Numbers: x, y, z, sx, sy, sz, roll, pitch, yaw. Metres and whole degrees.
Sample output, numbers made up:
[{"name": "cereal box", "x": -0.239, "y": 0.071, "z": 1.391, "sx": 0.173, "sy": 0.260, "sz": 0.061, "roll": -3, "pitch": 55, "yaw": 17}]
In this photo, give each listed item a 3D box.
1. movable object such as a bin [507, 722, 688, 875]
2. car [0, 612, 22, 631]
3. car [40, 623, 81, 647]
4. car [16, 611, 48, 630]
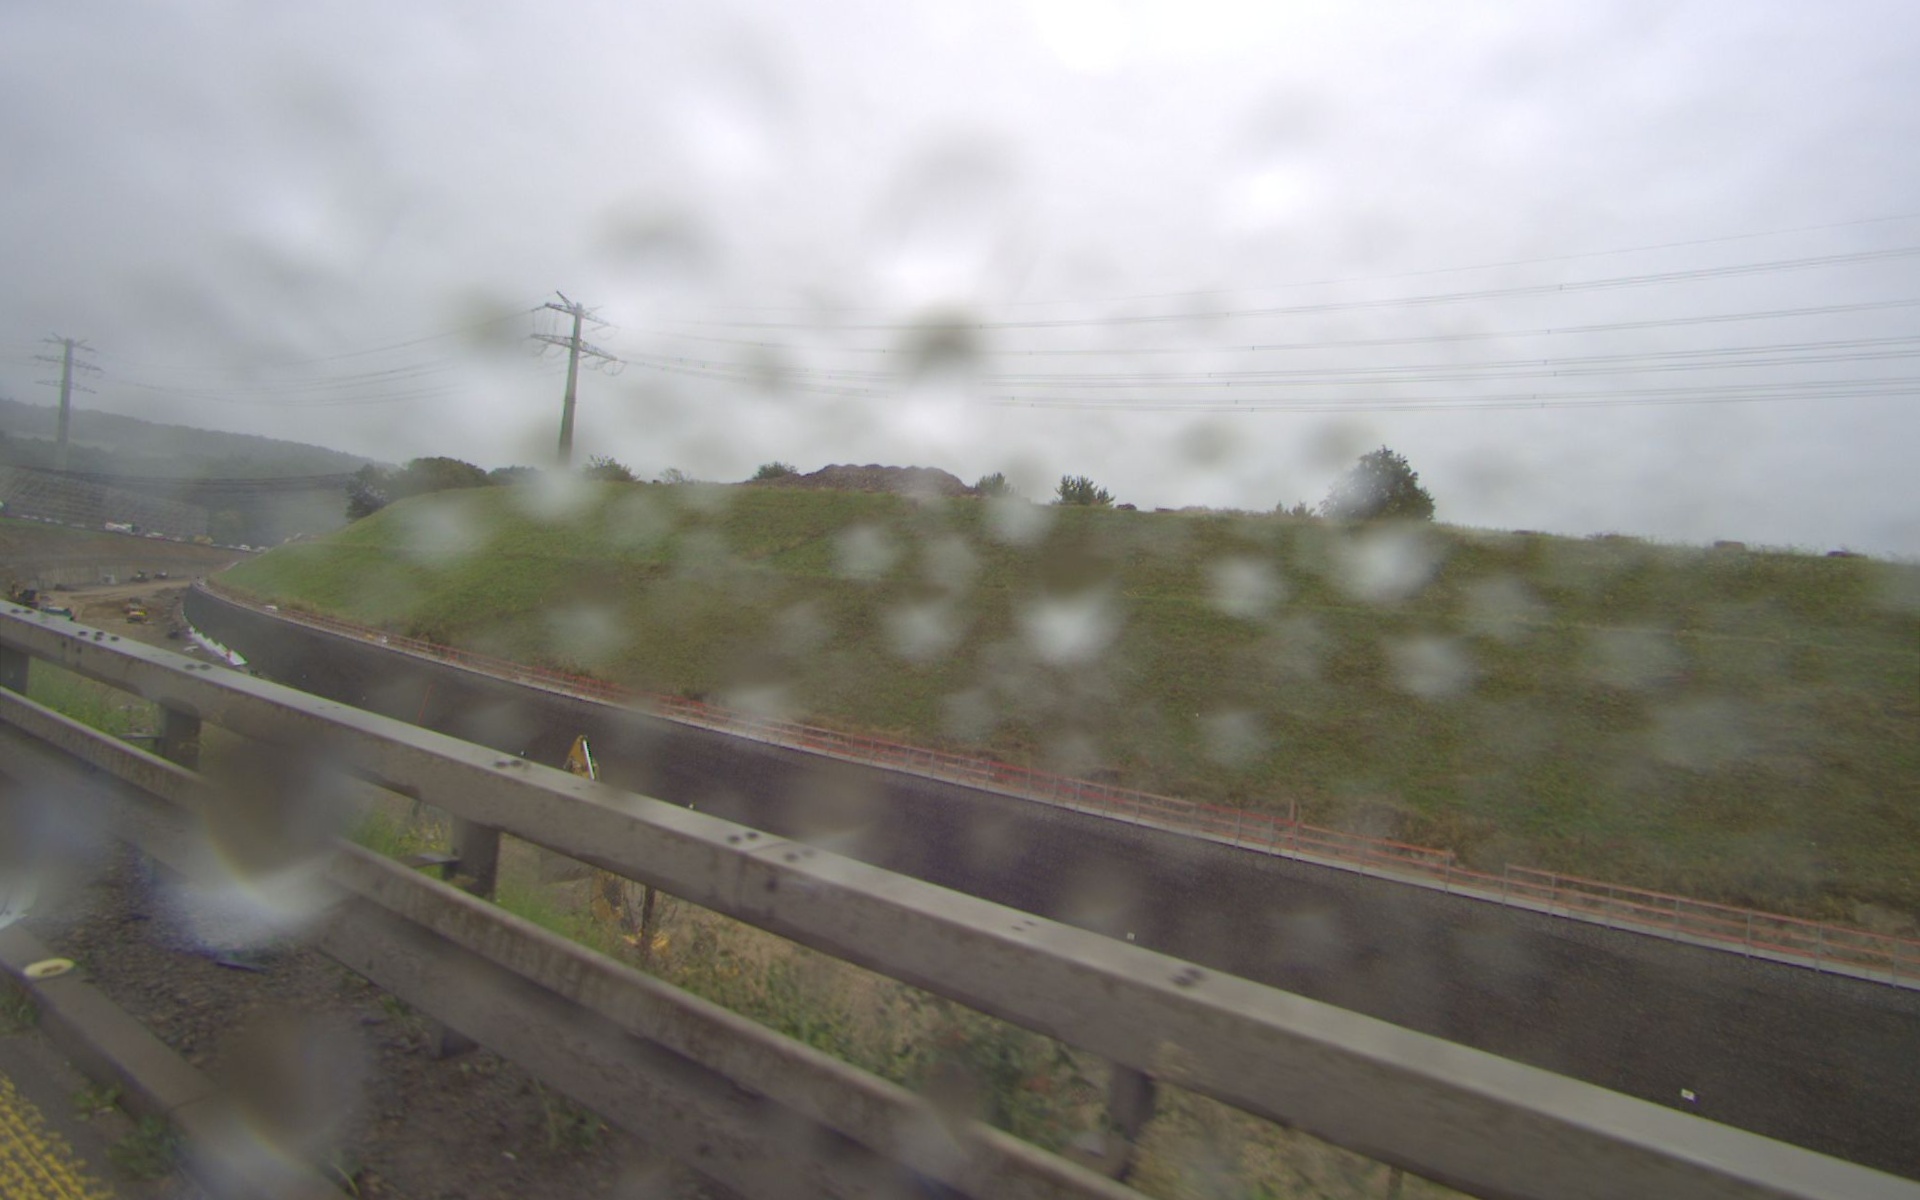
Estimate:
[{"name": "movable object such as a bin", "x": -11.791, "y": 6.321, "z": 32.807, "sx": 4.053, "sy": 3.910, "sz": 3.223, "roll": 8, "pitch": -2, "yaw": 31}, {"name": "car", "x": -129.466, "y": 2.924, "z": 137.286, "sx": 1.989, "sy": 2.037, "sz": 3.951, "roll": 9, "pitch": -2, "yaw": -43}, {"name": "car", "x": -99.813, "y": 3.849, "z": 111.627, "sx": 3.936, "sy": 2.037, "sz": 2.369, "roll": 7, "pitch": -2, "yaw": 34}, {"name": "car", "x": -113.135, "y": 2.469, "z": 122.585, "sx": 3.938, "sy": 1.837, "sz": 1.995, "roll": 6, "pitch": -1, "yaw": 36}]
